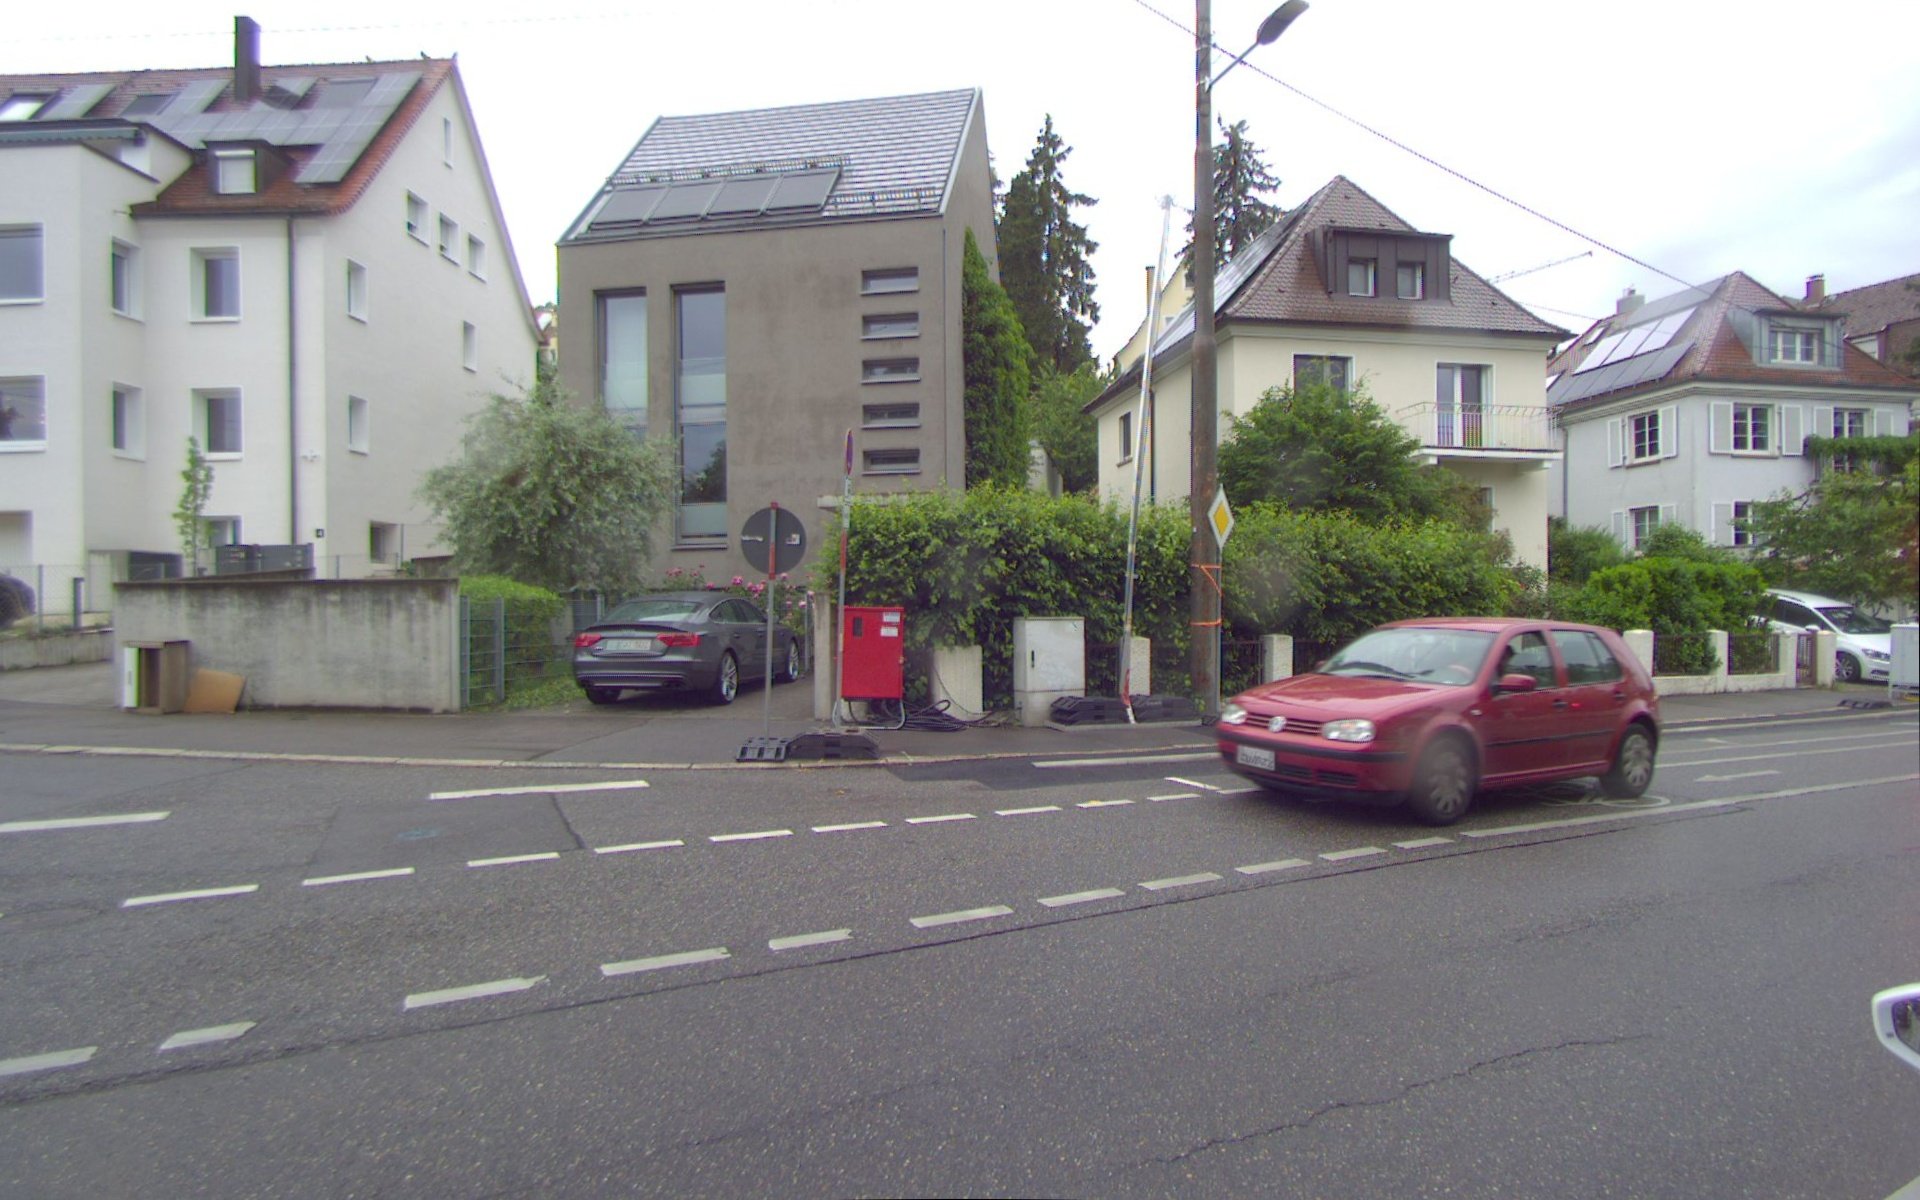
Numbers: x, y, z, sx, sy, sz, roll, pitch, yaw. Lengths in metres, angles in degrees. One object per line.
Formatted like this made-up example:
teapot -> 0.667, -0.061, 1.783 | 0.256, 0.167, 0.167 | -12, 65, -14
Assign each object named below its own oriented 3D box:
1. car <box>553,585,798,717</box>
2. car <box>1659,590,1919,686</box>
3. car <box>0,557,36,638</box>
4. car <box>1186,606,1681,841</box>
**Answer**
car -> -3.614, 0.558, 13.580 | 1.740, 1.506, 4.002 | 0, 1, 7
car -> 19.589, 0.814, 23.918 | 1.870, 2.033, 4.628 | 1, 0, -18
car -> -16.738, 0.041, 15.173 | 1.576, 1.298, 4.008 | 2, 4, 6
car -> 3.895, 0.822, 8.166 | 3.839, 1.483, 1.756 | 1, 0, -30
